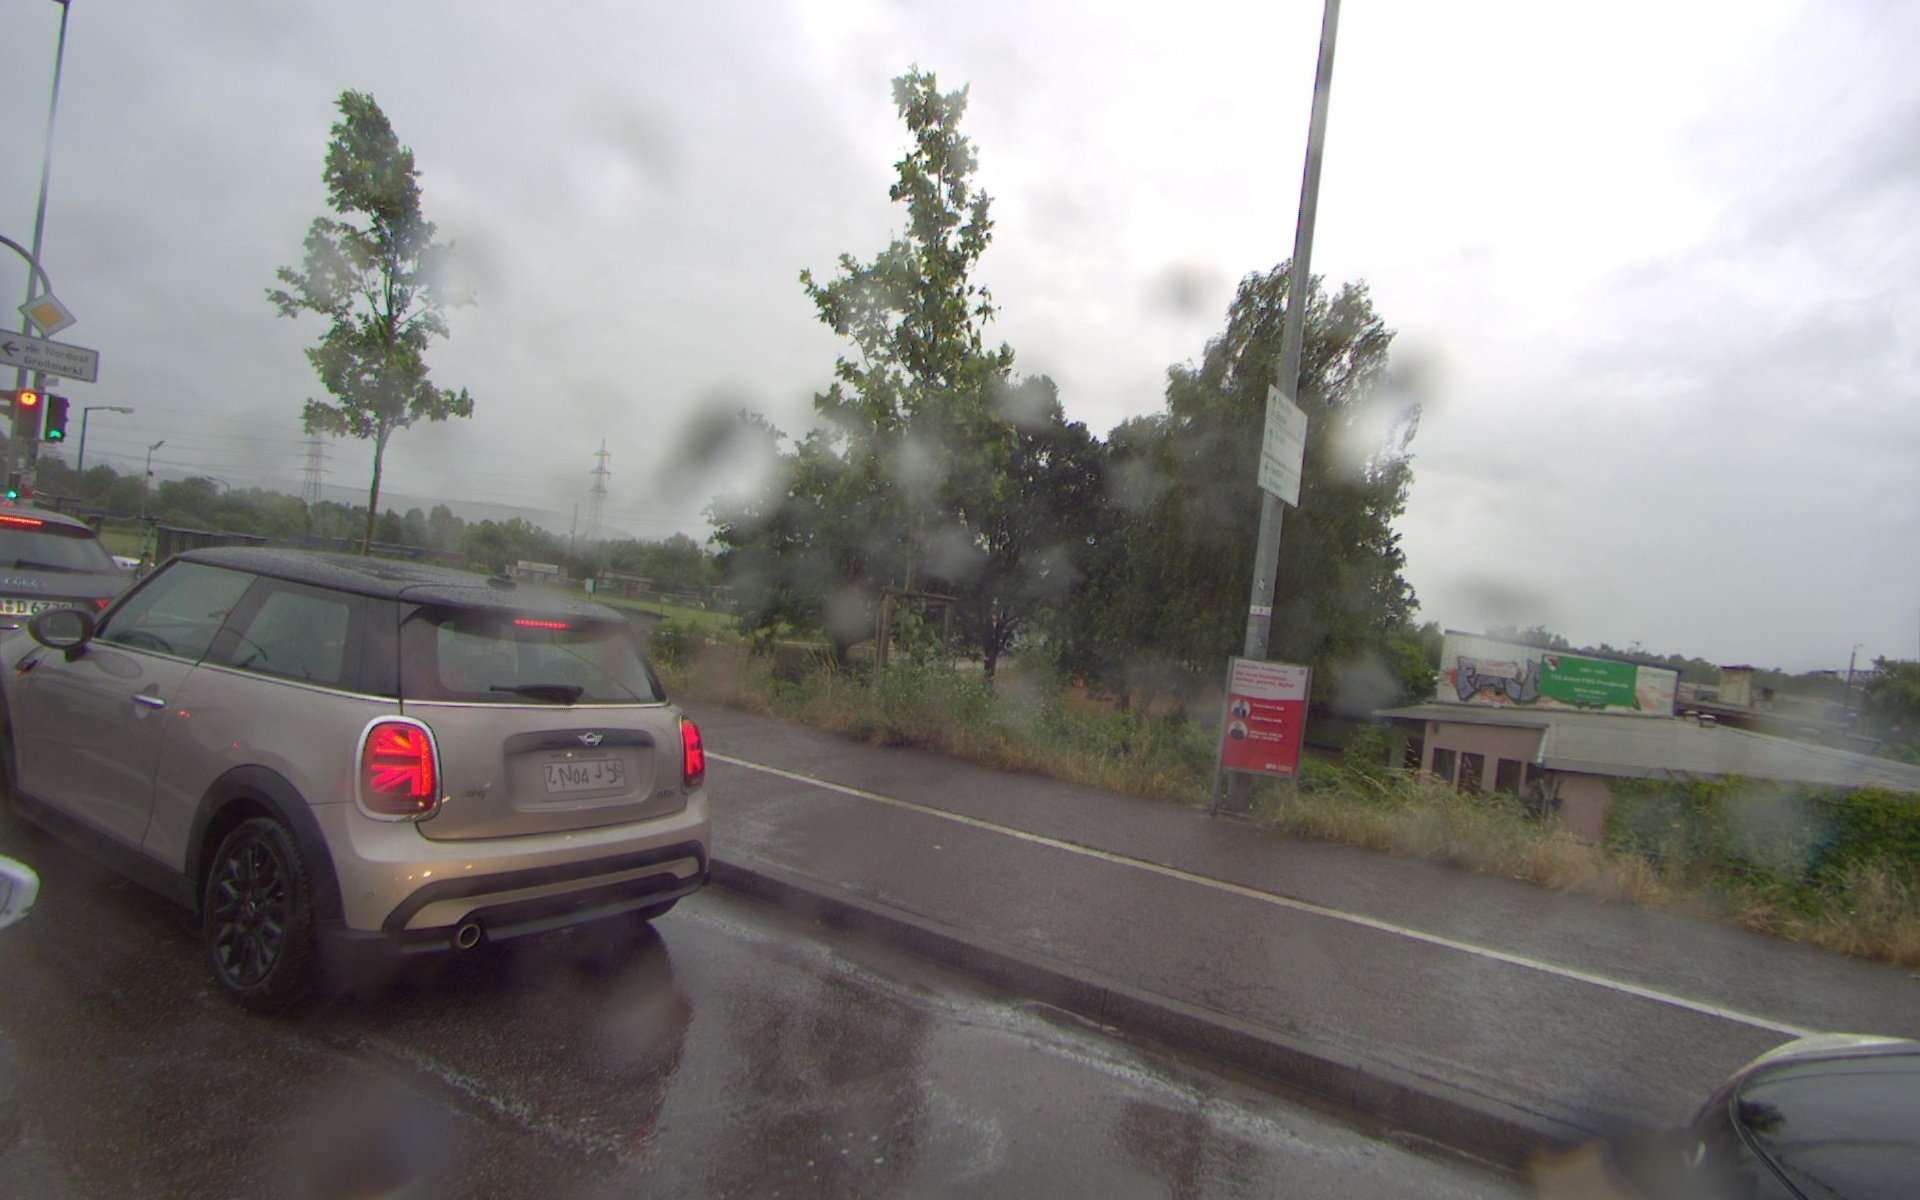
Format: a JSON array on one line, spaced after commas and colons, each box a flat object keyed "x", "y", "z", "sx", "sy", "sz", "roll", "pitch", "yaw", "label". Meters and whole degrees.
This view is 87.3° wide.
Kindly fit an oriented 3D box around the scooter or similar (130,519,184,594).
[{"x": -13.590, "y": -0.741, "z": 17.019, "sx": 1.167, "sy": 1.171, "sz": 0.246, "roll": 6, "pitch": -1, "yaw": 33, "label": "scooter or similar"}]

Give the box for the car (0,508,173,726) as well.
[{"x": -7.498, "y": -0.055, "z": 7.222, "sx": 3.563, "sy": 1.360, "sz": 1.632, "roll": 6, "pitch": -2, "yaw": 31, "label": "car"}]

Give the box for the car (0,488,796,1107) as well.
[{"x": -2.717, "y": 0.488, "z": 4.320, "sx": 3.563, "sy": 1.525, "sz": 1.717, "roll": 7, "pitch": -2, "yaw": 31, "label": "car"}]

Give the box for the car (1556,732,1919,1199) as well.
[{"x": 2.777, "y": 1.181, "z": 1.069, "sx": 3.563, "sy": 1.445, "sz": 1.632, "roll": 7, "pitch": -1, "yaw": 31, "label": "car"}]
